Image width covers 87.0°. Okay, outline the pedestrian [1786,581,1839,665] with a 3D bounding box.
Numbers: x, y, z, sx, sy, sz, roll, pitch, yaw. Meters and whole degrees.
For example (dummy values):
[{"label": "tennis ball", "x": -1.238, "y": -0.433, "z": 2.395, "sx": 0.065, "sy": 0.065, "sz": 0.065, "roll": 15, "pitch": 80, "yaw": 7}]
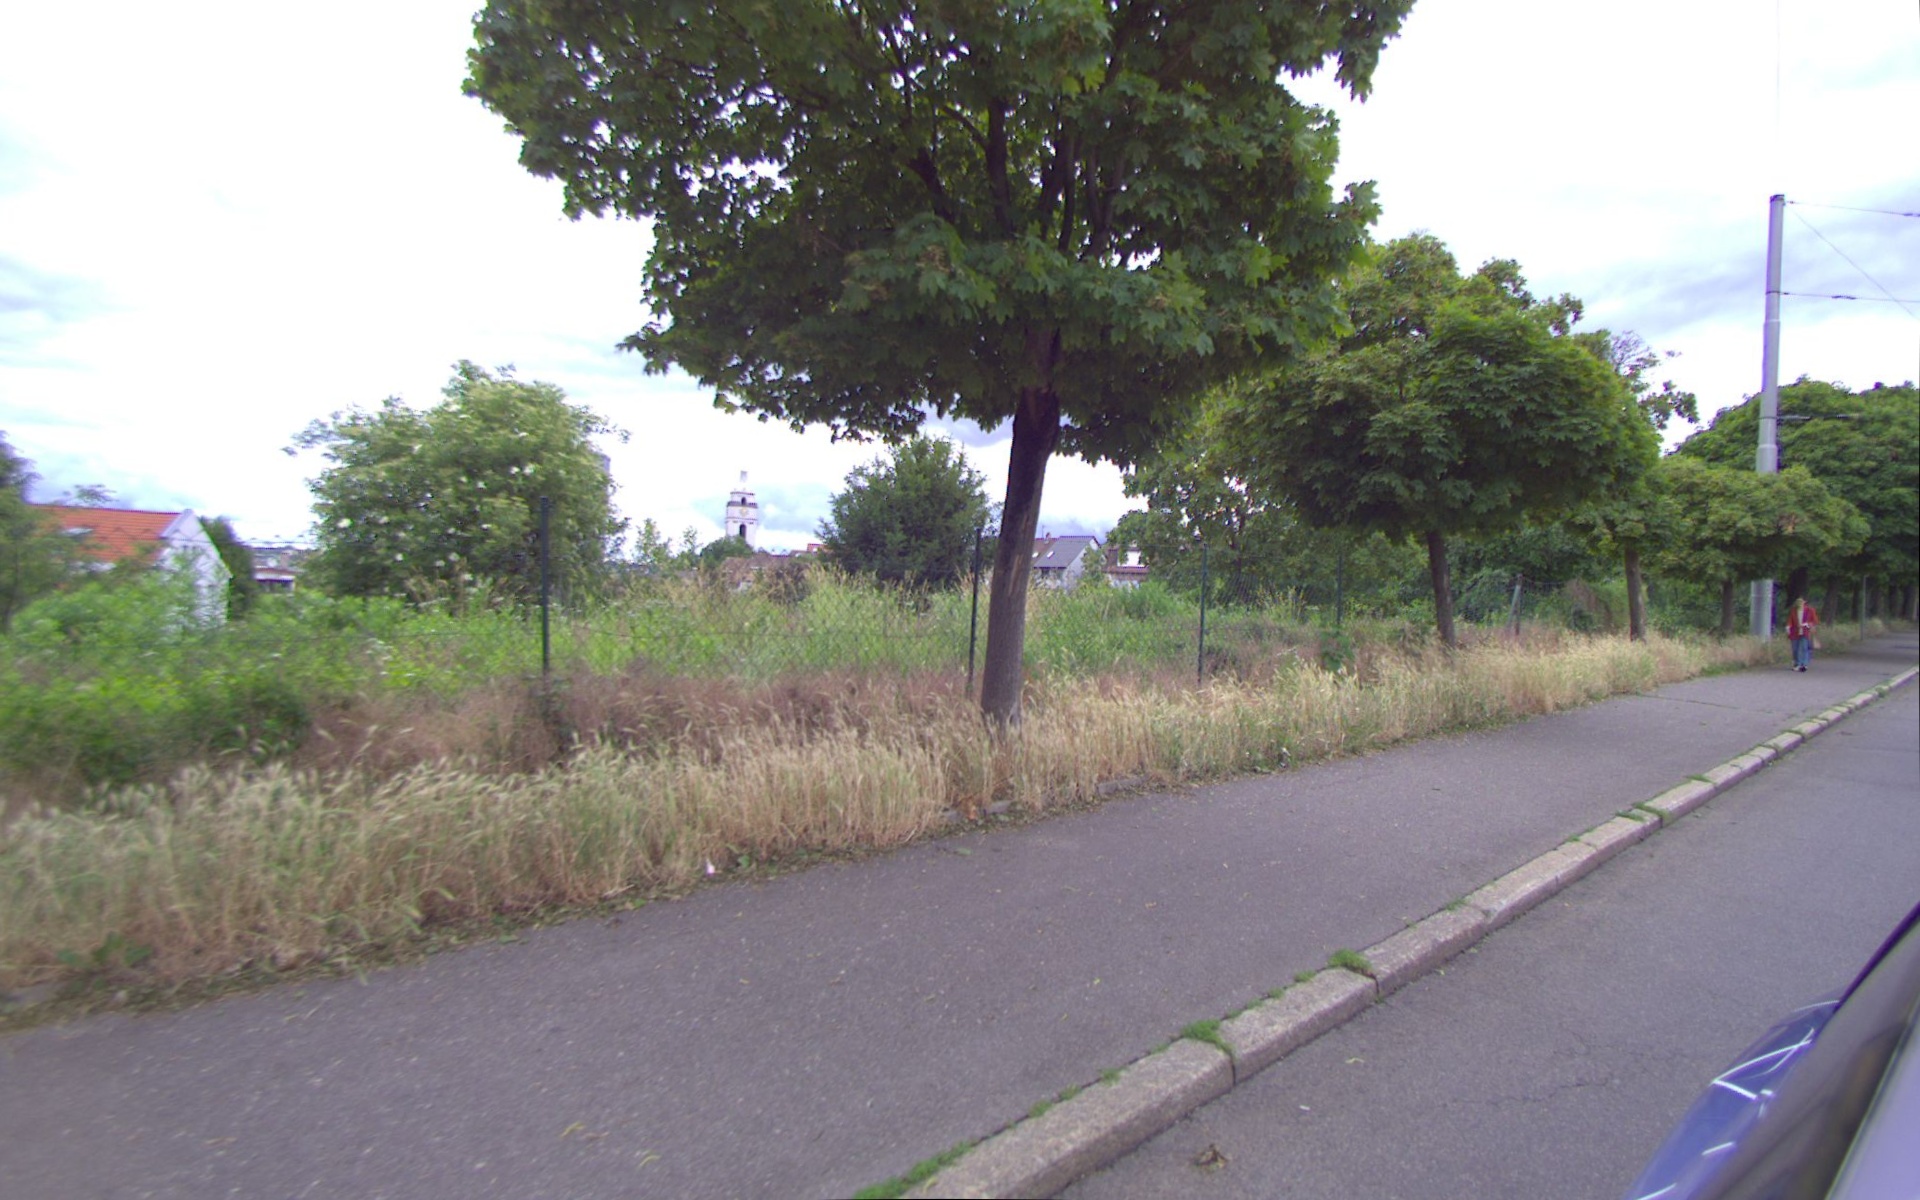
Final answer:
[{"label": "pedestrian", "x": 17.274, "y": 0.445, "z": 20.509, "sx": 0.706, "sy": 1.641, "sz": 0.716, "roll": 0, "pitch": 1, "yaw": -42}]
